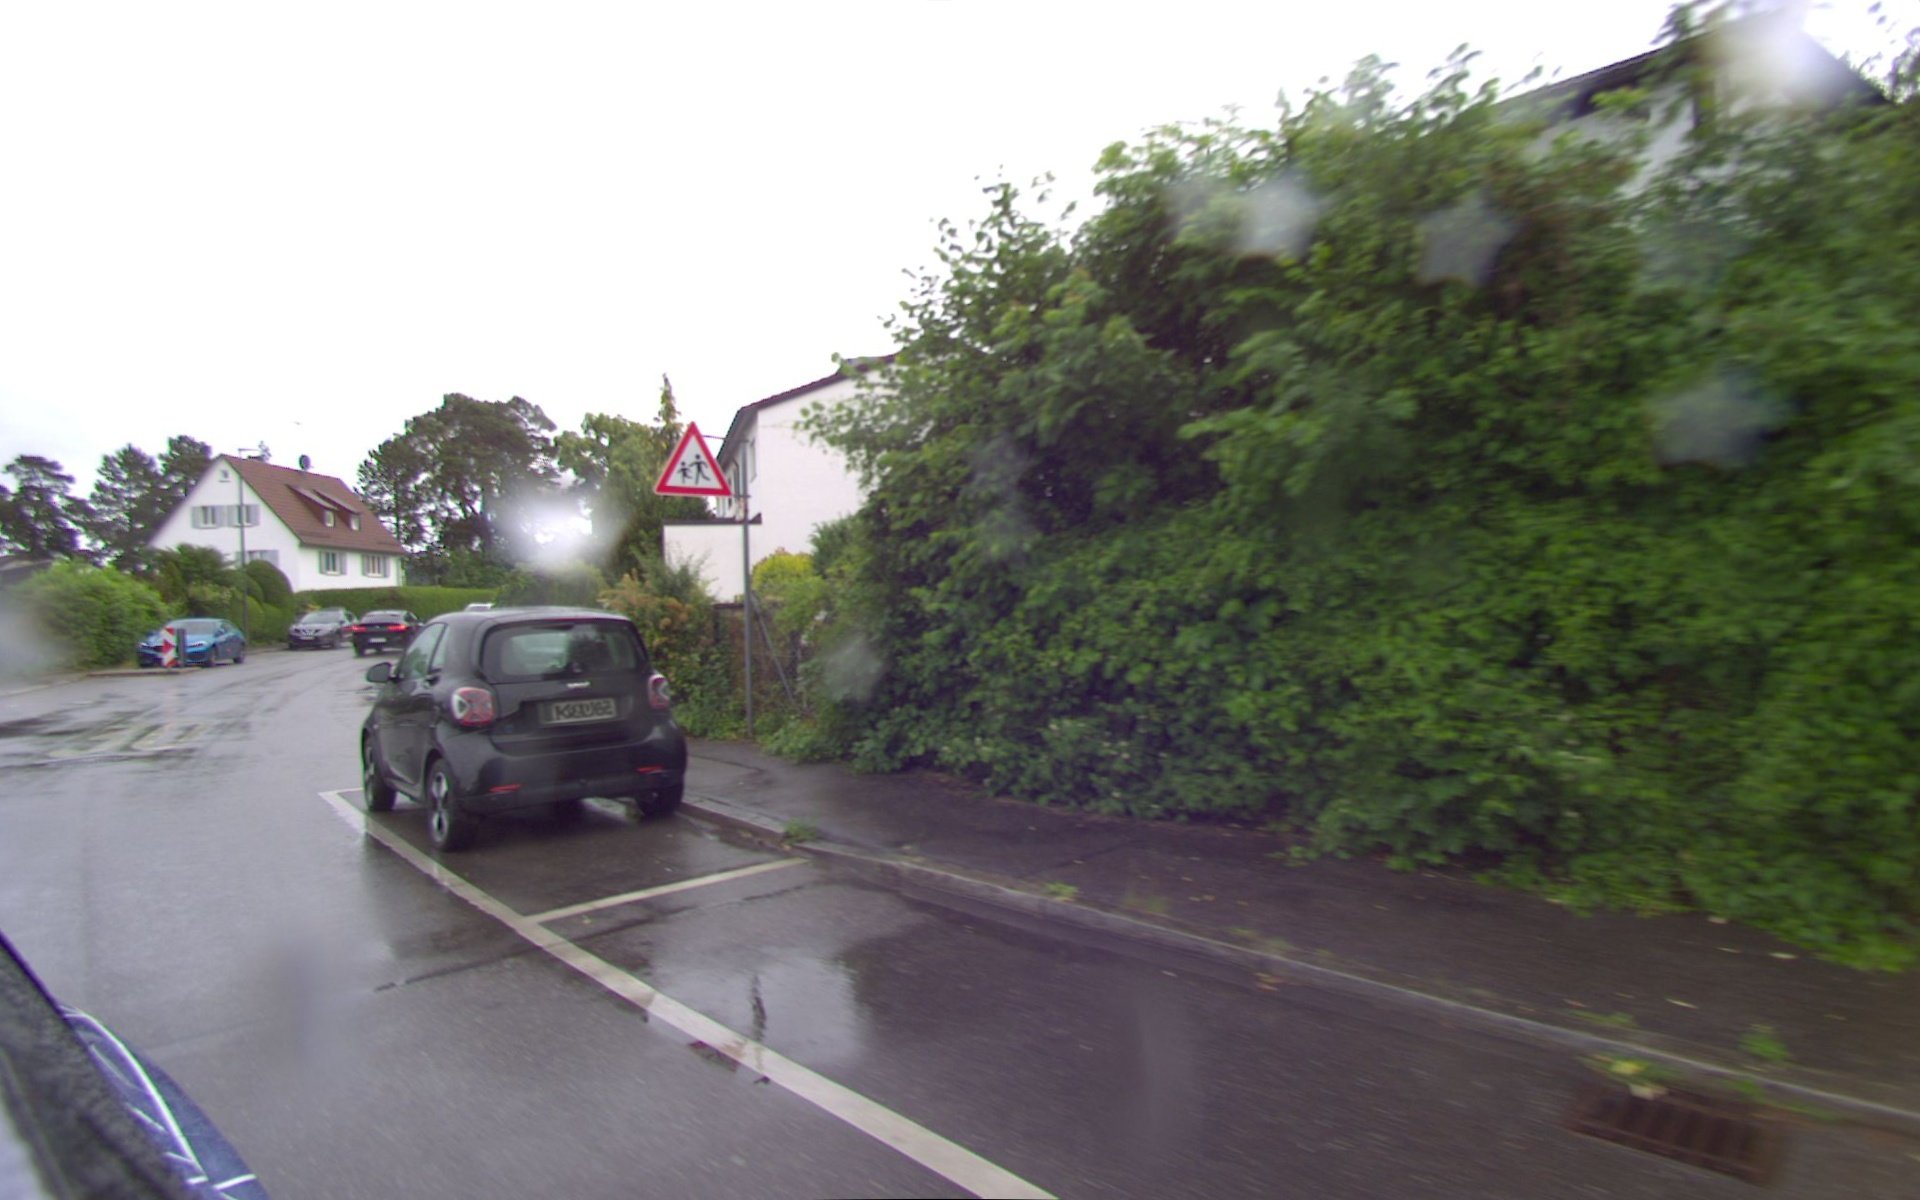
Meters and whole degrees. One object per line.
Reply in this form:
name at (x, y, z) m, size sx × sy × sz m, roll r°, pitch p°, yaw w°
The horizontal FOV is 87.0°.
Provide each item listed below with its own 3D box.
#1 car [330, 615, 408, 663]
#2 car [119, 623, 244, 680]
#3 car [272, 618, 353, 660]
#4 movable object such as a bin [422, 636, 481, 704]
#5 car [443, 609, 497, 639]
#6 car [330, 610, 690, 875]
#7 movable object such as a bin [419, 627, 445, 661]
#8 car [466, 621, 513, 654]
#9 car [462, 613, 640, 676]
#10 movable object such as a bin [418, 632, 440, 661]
car at (-22.169, 1.419, 38.137) m, size 1.902 × 1.617 × 4.357 m, roll -1°, pitch 0°, yaw -22°
car at (-23.474, 1.496, 30.684) m, size 1.770 × 1.479 × 4.229 m, roll -2°, pitch 0°, yaw -20°
car at (-27.524, 1.616, 43.164) m, size 1.875 × 1.553 × 4.229 m, roll -2°, pitch 0°, yaw -18°
movable object such as a bin at (-8.826, 1.201, 17.590) m, size 0.834 × 1.076 × 0.624 m, roll -4°, pitch 0°, yaw -25°
car at (-30.211, 1.464, 62.518) m, size 1.640 × 1.651 × 4.221 m, roll -2°, pitch 0°, yaw -6°
car at (-3.461, 0.867, 7.564) m, size 1.583 × 1.523 × 2.946 m, roll -1°, pitch -1°, yaw -43°
movable object such as a bin at (-17.618, 1.463, 33.789) m, size 0.682 × 1.100 × 0.422 m, roll 0°, pitch -2°, yaw -18°
car at (-25.871, 2.016, 55.771) m, size 1.764 × 1.606 × 4.228 m, roll -2°, pitch 0°, yaw -17°
car at (-10.158, 1.074, 25.413) m, size 3.933 × 1.451 × 1.773 m, roll 0°, pitch 0°, yaw -14°
movable object such as a bin at (-17.487, 1.519, 33.331) m, size 0.571 × 0.946 × 0.505 m, roll 0°, pitch -2°, yaw -18°
